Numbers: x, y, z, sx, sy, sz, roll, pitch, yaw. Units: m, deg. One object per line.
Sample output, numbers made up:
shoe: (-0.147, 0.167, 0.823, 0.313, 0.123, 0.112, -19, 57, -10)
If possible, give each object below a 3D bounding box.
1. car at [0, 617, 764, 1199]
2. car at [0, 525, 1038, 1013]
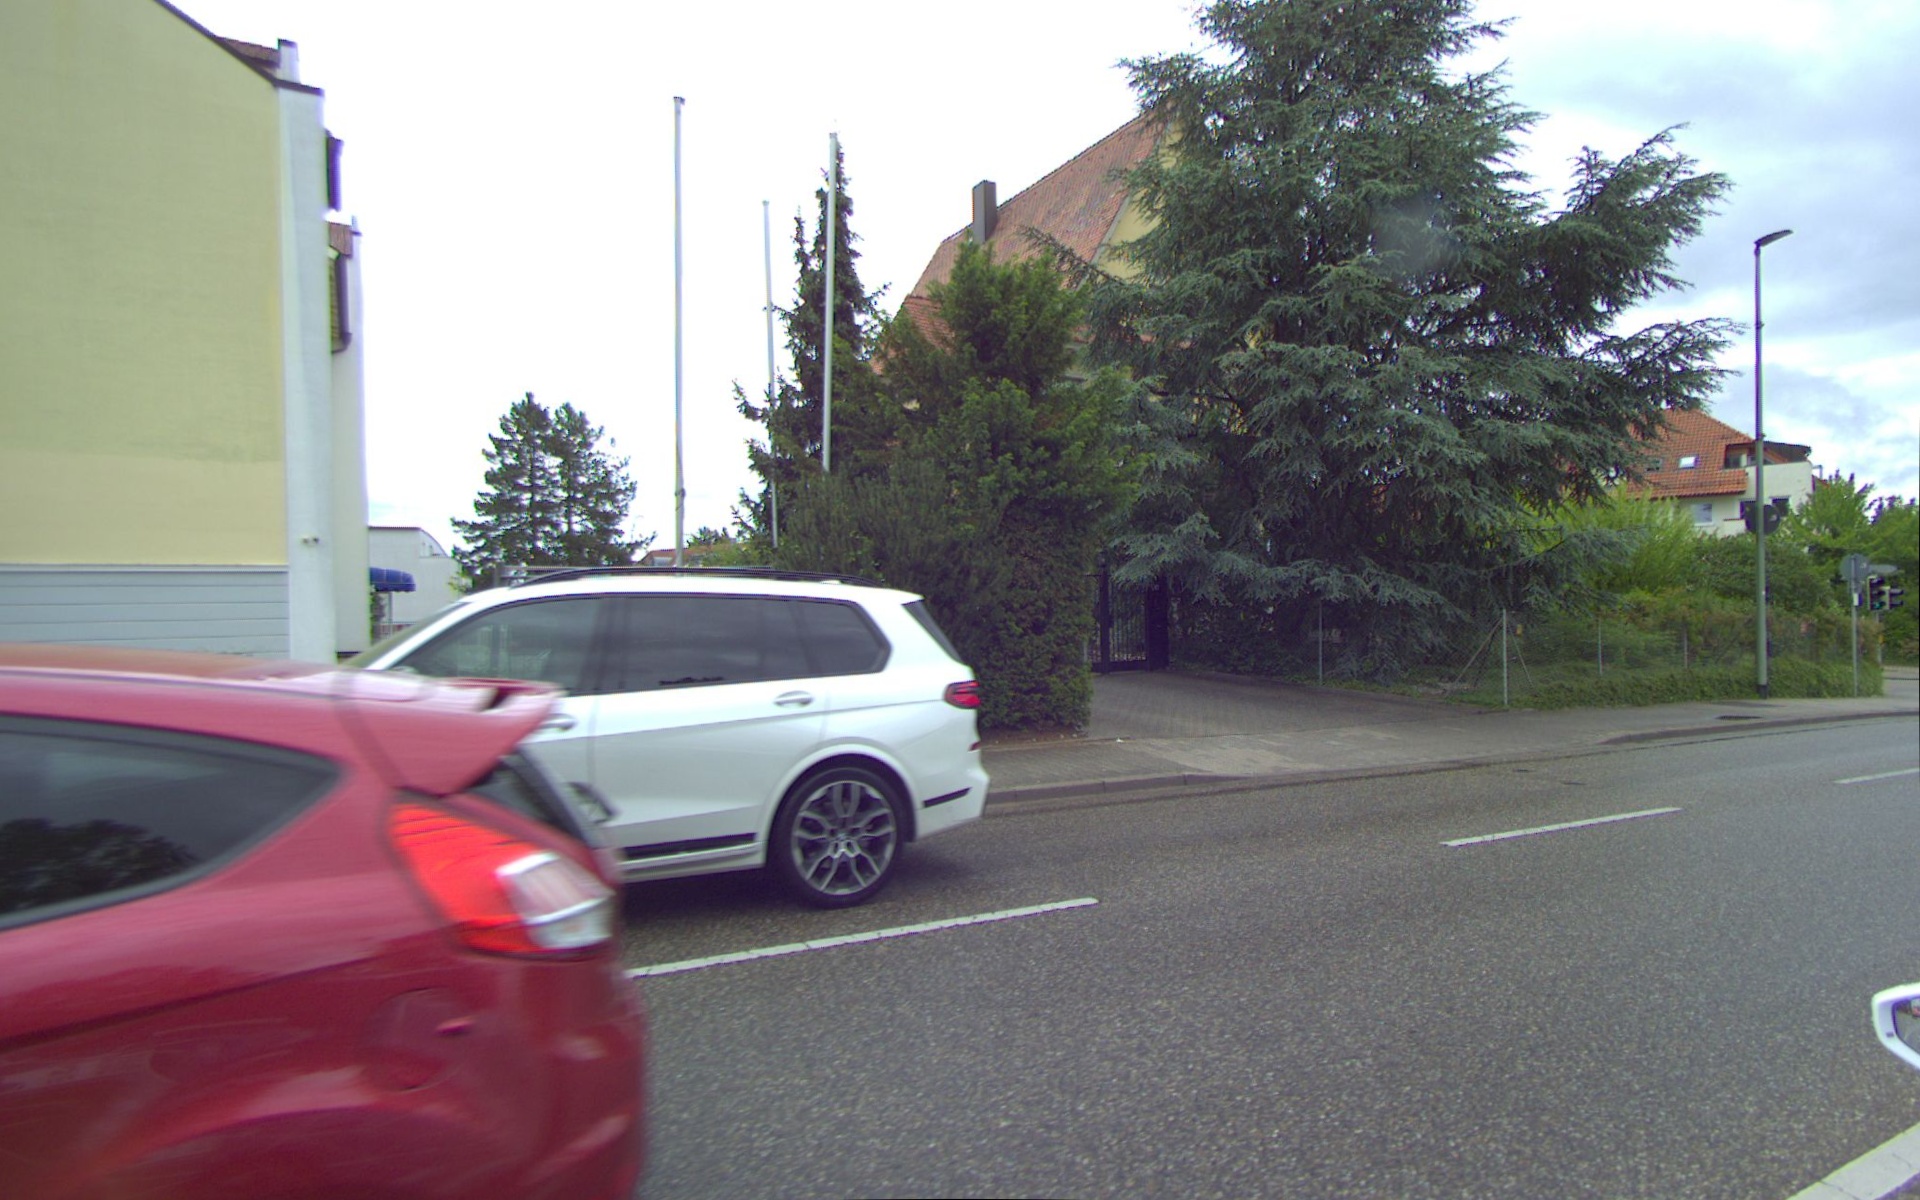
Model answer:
car: (-2.403, 0.767, 1.633, 3.794, 1.438, 1.674, 1, -3, -29)
car: (-2.222, 0.694, 5.516, 5.080, 1.786, 1.910, 1, -3, -29)
